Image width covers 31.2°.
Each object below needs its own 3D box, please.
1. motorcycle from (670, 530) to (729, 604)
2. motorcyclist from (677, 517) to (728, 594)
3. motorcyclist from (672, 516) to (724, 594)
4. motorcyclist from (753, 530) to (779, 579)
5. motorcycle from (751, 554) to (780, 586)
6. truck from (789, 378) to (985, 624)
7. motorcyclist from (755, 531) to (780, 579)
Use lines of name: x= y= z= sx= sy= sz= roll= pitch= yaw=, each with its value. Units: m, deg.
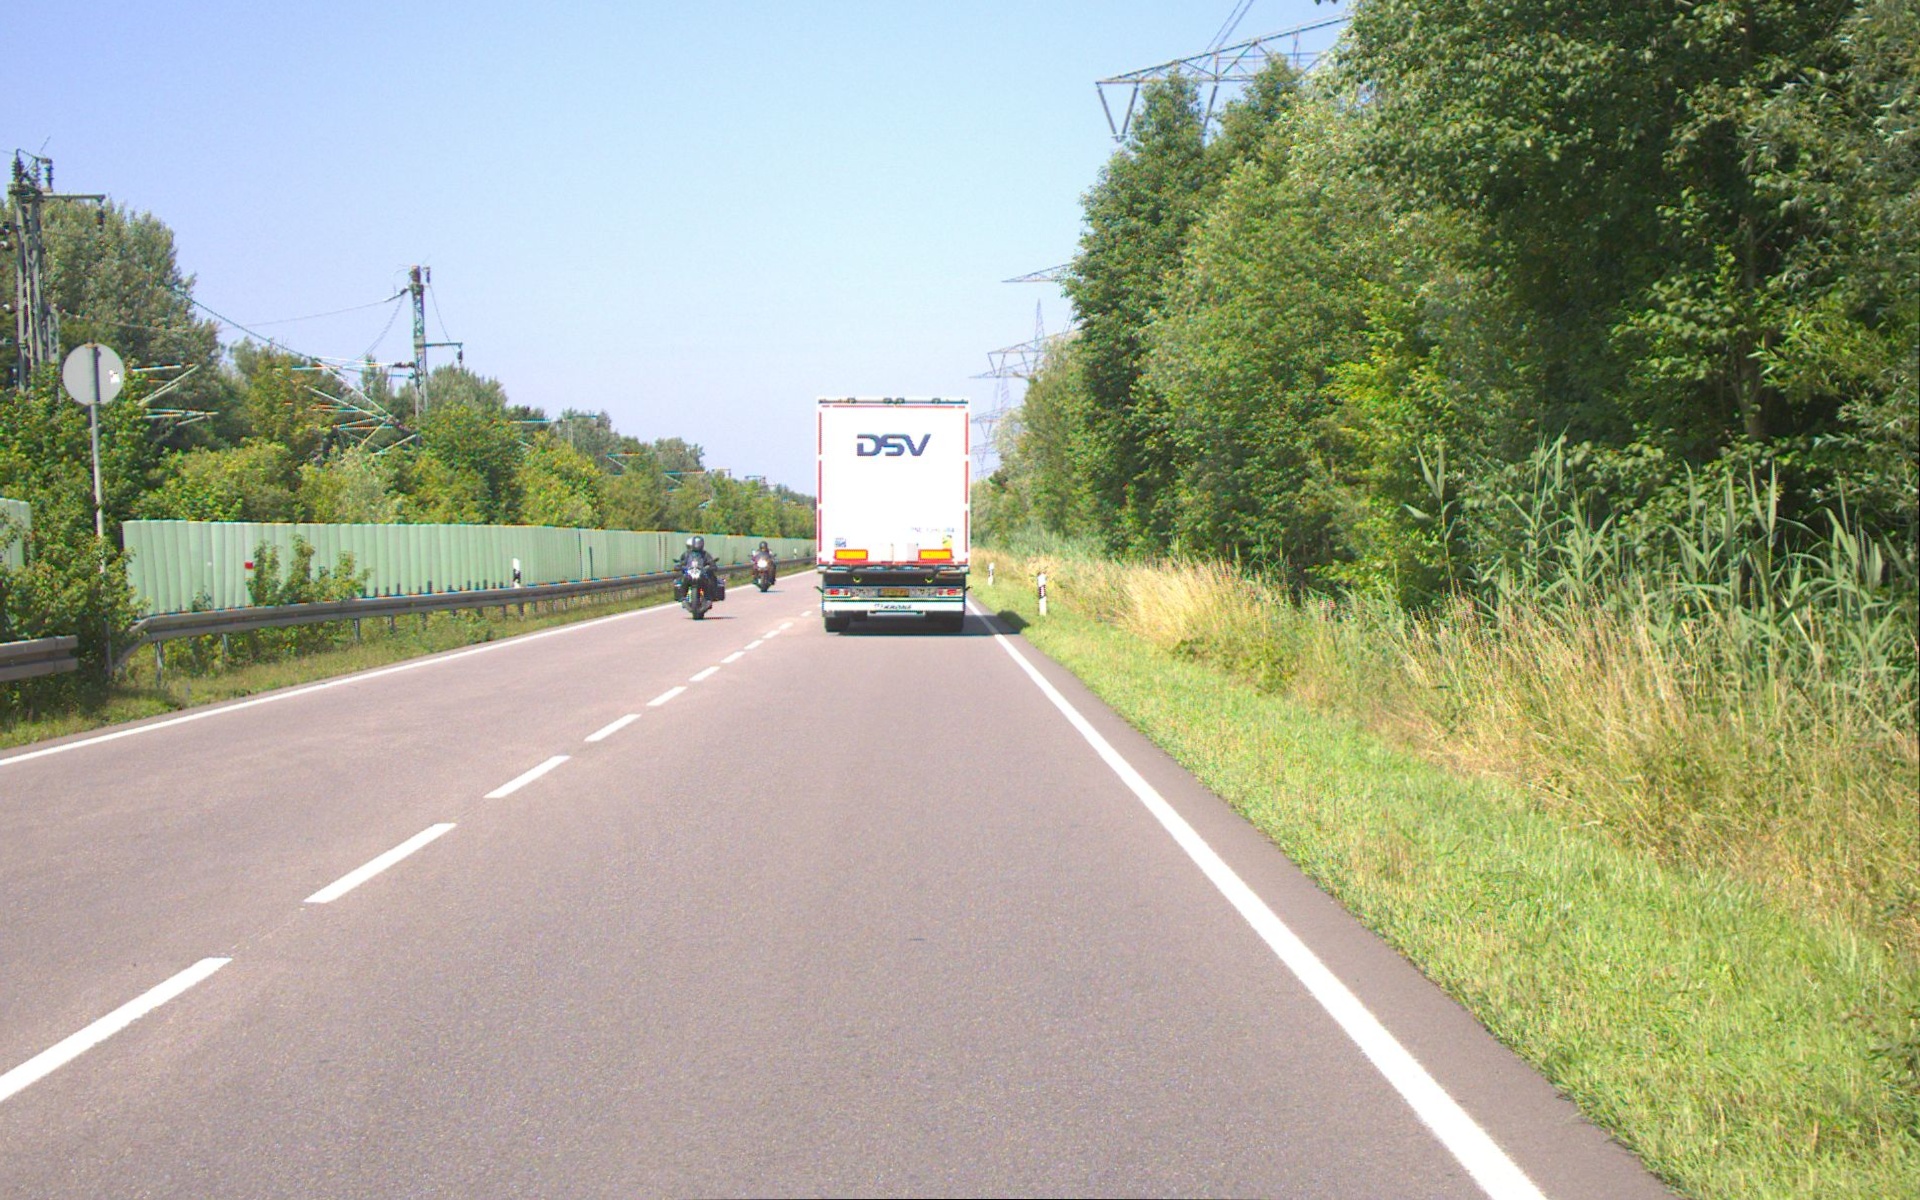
motorcycle: x=-5.409 y=-0.692 z=71.514 sx=0.968 sy=1.491 sz=2.630 roll=1 pitch=1 yaw=1
motorcyclist: x=-5.401 y=-0.935 z=72.153 sx=0.959 sy=1.604 sz=1.003 roll=1 pitch=1 yaw=1
motorcyclist: x=-5.414 y=-0.930 z=71.142 sx=0.959 sy=1.604 sz=1.003 roll=1 pitch=1 yaw=1
motorcyclist: x=-6.285 y=-1.466 z=111.247 sx=0.758 sy=1.577 sz=1.003 roll=1 pitch=1 yaw=1
motorcycle: x=-6.292 y=-0.966 z=111.282 sx=0.754 sy=1.010 sz=2.721 roll=1 pitch=1 yaw=1
truck: x=-1.325 y=-1.744 z=62.756 sx=3.192 sy=4.029 sz=12.008 roll=-1 pitch=1 yaw=-1
motorcyclist: x=-6.275 y=-1.469 z=112.204 sx=0.749 sy=1.577 sz=0.863 roll=1 pitch=1 yaw=1
